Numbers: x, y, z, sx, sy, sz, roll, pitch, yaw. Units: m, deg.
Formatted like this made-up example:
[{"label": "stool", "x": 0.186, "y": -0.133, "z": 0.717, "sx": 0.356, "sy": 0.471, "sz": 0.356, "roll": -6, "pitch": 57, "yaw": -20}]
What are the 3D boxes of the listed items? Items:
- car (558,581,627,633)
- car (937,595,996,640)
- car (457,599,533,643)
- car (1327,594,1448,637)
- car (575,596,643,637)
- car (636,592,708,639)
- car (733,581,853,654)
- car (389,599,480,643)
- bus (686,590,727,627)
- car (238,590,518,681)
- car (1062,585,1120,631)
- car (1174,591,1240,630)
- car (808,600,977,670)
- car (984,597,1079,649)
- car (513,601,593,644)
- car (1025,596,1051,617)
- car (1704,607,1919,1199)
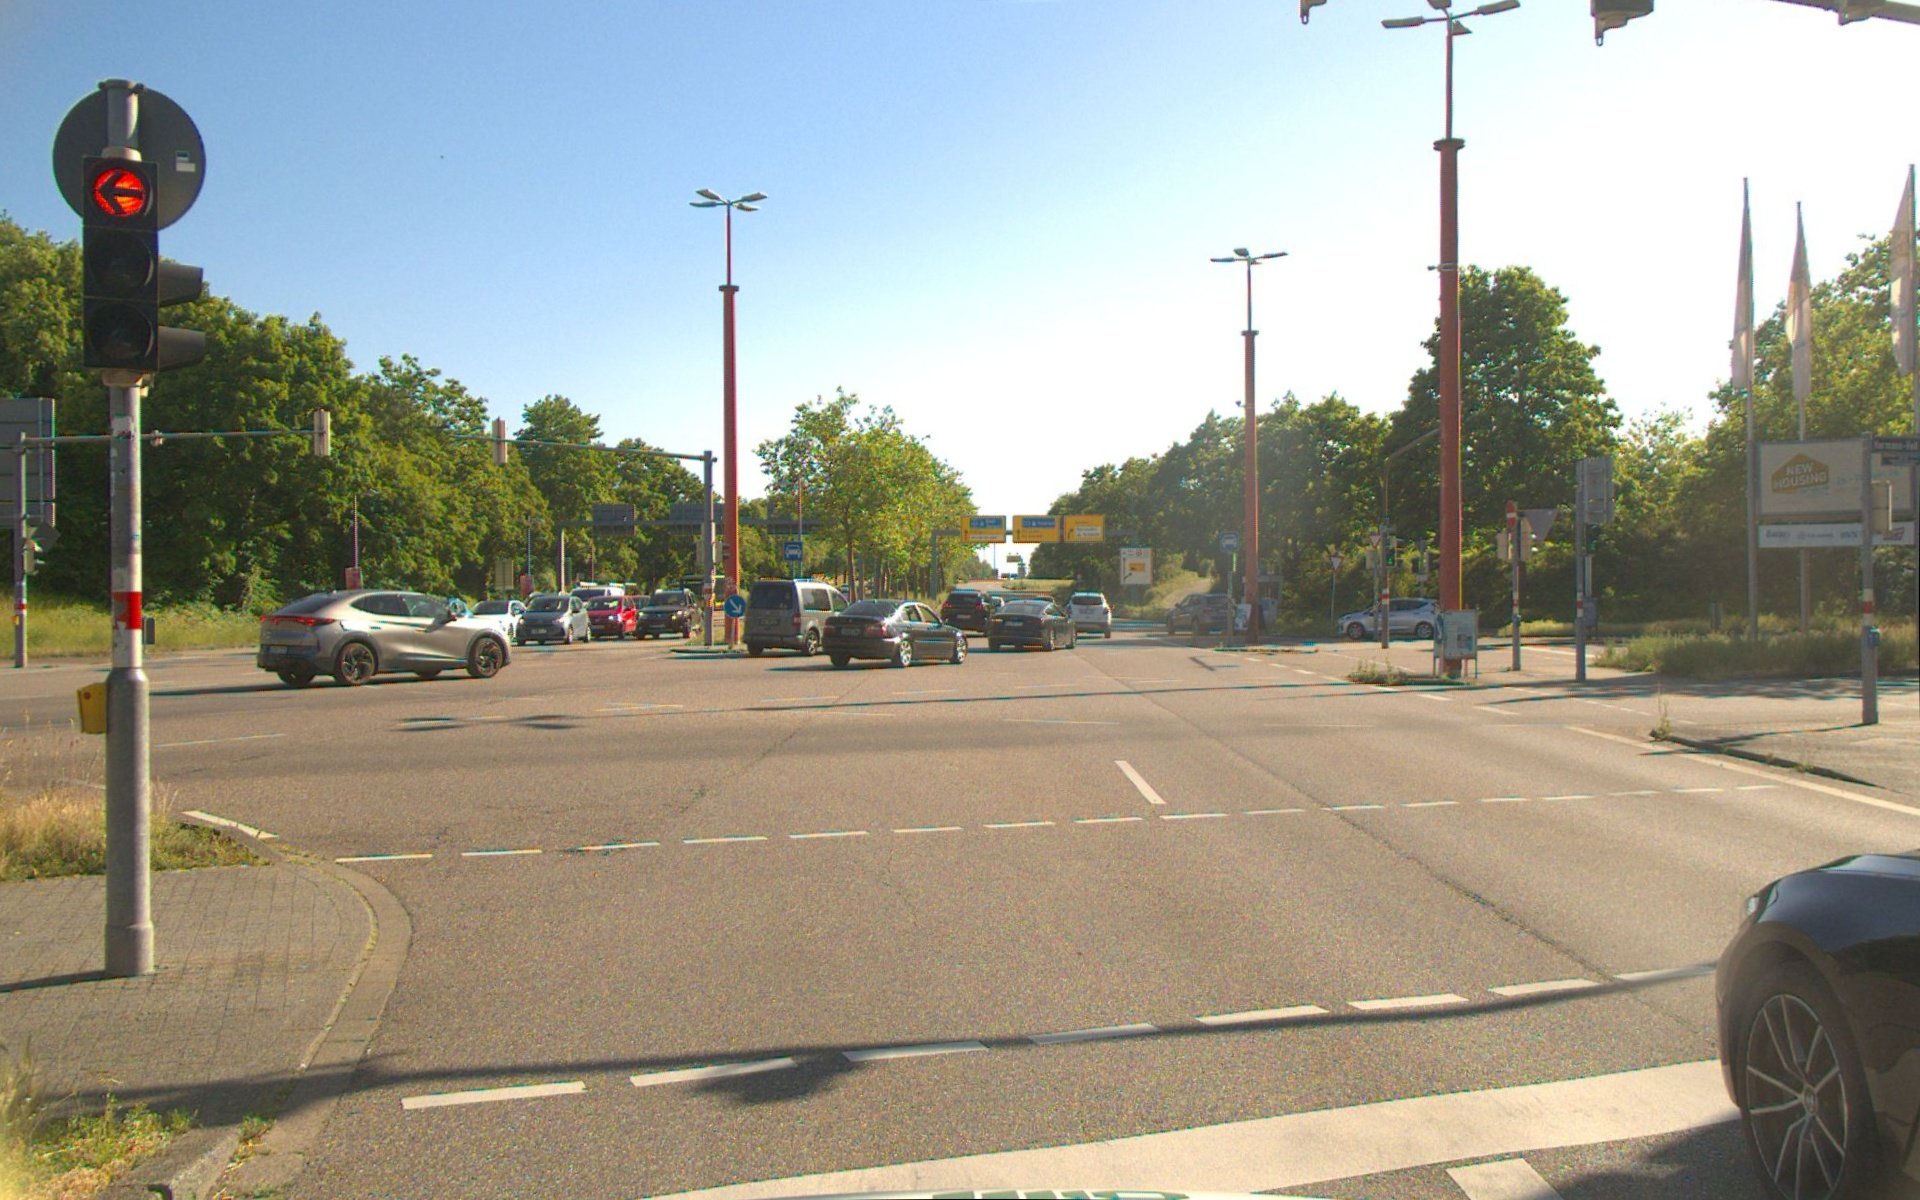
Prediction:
[{"label": "car", "x": -15.542, "y": 0.307, "z": 70.186, "sx": 1.855, "sy": 2.061, "sz": 5.221, "roll": 1, "pitch": -1, "yaw": -2}, {"label": "car", "x": 0.273, "y": 0.621, "z": 60.175, "sx": 1.813, "sy": 1.572, "sz": 4.265, "roll": 0, "pitch": 0, "yaw": 5}, {"label": "car", "x": -15.925, "y": 0.702, "z": 56.792, "sx": 1.704, "sy": 1.436, "sz": 3.611, "roll": 0, "pitch": 0, "yaw": -2}, {"label": "car", "x": 15.271, "y": 0.541, "z": 59.143, "sx": 3.908, "sy": 1.493, "sz": 1.680, "roll": 0, "pitch": 0, "yaw": 31}, {"label": "car", "x": -12.274, "y": 0.554, "z": 58.074, "sx": 1.704, "sy": 1.386, "sz": 3.611, "roll": 0, "pitch": 0, "yaw": -2}, {"label": "car", "x": -9.694, "y": 0.505, "z": 55.989, "sx": 1.782, "sy": 1.534, "sz": 3.999, "roll": 0, "pitch": 0, "yaw": -1}, {"label": "car", "x": -4.133, "y": 0.402, "z": 41.671, "sx": 1.806, "sy": 1.738, "sz": 4.311, "roll": 0, "pitch": 0, "yaw": 12}, {"label": "car", "x": -16.048, "y": 0.613, "z": 50.675, "sx": 1.704, "sy": 1.265, "sz": 3.611, "roll": 0, "pitch": 0, "yaw": -2}, {"label": "bus", "x": -23.419, "y": 0.713, "z": 153.188, "sx": 2.441, "sy": 3.295, "sz": 9.998, "roll": 0, "pitch": 0, "yaw": -1}, {"label": "car", "x": -10.075, "y": 0.561, "z": 28.954, "sx": 1.799, "sy": 1.447, "sz": 4.421, "roll": -1, "pitch": 0, "yaw": 35}, {"label": "car", "x": 4.910, "y": 0.295, "z": 61.580, "sx": 1.784, "sy": 1.665, "sz": 4.257, "roll": 0, "pitch": 0, "yaw": 10}, {"label": "car", "x": 10.038, "y": 0.403, "z": 67.481, "sx": 1.744, "sy": 1.511, "sz": 4.325, "roll": 0, "pitch": 0, "yaw": -4}, {"label": "car", "x": -1.372, "y": 0.713, "z": 35.478, "sx": 1.725, "sy": 1.373, "sz": 4.358, "roll": 0, "pitch": 0, "yaw": 27}, {"label": "car", "x": 2.068, "y": 0.625, "z": 46.620, "sx": 1.722, "sy": 1.373, "sz": 4.366, "roll": 0, "pitch": 0, "yaw": 16}, {"label": "car", "x": -12.667, "y": 0.670, "z": 51.696, "sx": 1.704, "sy": 1.265, "sz": 3.611, "roll": 0, "pitch": 0, "yaw": -2}, {"label": "car", "x": 5.349, "y": 0.436, "z": 113.772, "sx": 1.645, "sy": 1.460, "sz": 4.065, "roll": 0, "pitch": 0, "yaw": 0}, {"label": "car", "x": 2.936, "y": 0.735, "z": 2.361, "sx": 1.831, "sy": 1.422, "sz": 4.444, "roll": 0, "pitch": 0, "yaw": 1}]
